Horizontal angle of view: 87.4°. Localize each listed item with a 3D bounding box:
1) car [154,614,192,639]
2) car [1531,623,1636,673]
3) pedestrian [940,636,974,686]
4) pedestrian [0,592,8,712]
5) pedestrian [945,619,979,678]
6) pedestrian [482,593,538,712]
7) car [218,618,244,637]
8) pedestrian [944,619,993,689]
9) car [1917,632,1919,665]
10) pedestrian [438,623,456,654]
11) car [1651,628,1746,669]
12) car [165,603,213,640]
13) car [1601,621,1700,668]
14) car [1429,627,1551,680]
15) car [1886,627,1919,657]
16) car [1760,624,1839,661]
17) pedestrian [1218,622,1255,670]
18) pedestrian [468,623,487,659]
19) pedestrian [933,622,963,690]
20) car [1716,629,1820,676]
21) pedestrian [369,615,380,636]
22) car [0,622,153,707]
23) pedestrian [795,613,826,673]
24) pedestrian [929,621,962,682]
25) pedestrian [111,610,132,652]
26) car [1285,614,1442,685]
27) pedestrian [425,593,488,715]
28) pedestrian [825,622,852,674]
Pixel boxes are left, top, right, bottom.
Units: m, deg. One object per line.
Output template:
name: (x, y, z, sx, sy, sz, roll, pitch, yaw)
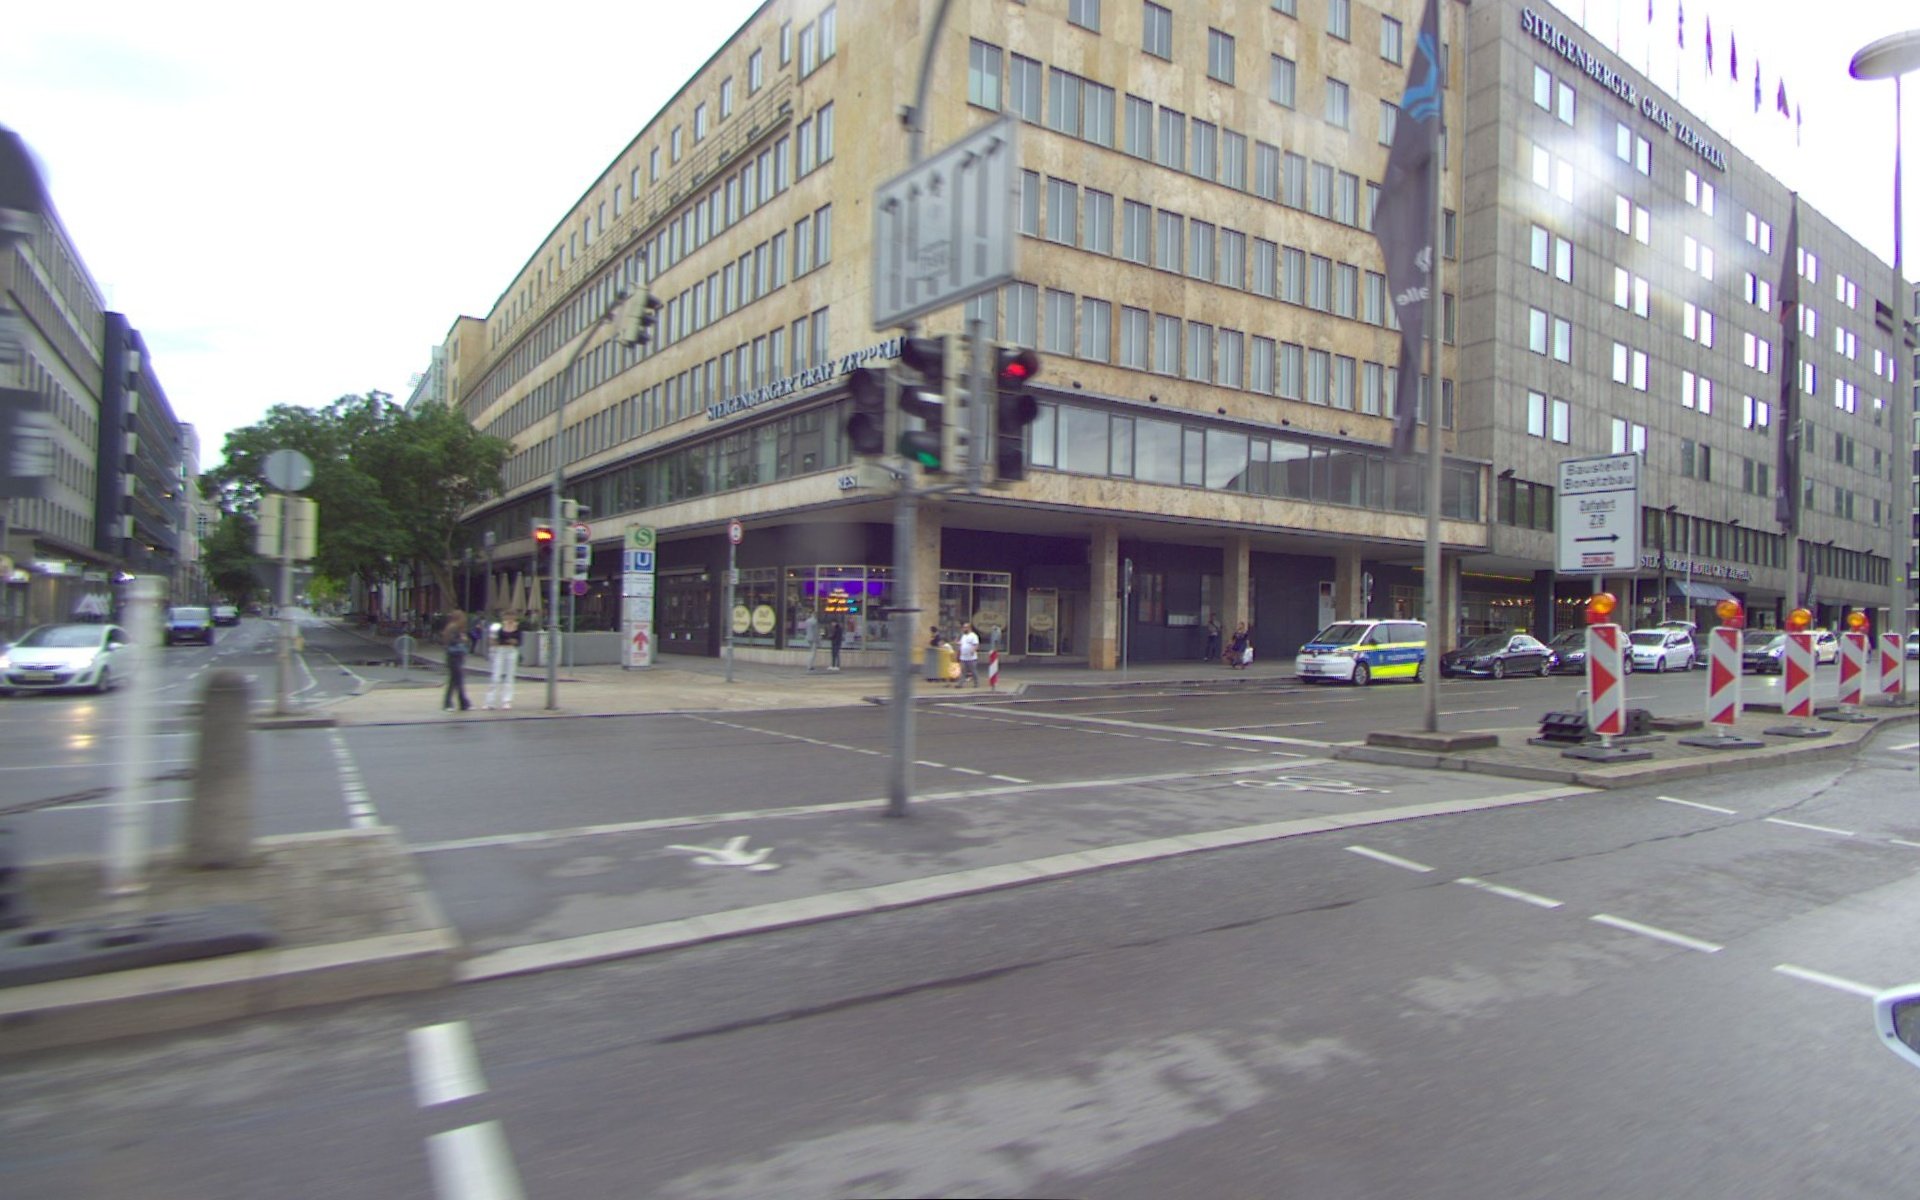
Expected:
car: (-50.475, 1.704, 64.482, 1.780, 1.582, 4.042, 2, -2, -37)
car: (22.699, 1.712, 36.534, 4.186, 1.703, 1.743, 1, -2, -35)
pedestrian: (-0.079, 1.624, 26.939, 0.746, 1.309, 0.559, 2, -2, -36)
pedestrian: (-16.679, 0.881, 16.891, 0.799, 2.040, 0.699, 1, -2, -33)
pedestrian: (0.056, 1.325, 27.635, 0.674, 1.613, 0.659, 2, -2, -35)
pedestrian: (-7.606, 0.874, 16.987, 0.744, 1.950, 0.586, 1, -2, -34)
car: (-63.436, 2.385, 87.388, 1.618, 1.627, 3.583, 2, -2, -39)
pedestrian: (0.214, 1.311, 24.616, 0.784, 1.640, 0.828, 1, 1, -44)
car: (51.370, 2.502, 51.997, 4.454, 1.691, 1.812, 1, -2, -35)
pedestrian: (-23.938, 1.806, 46.893, 0.596, 1.383, 0.694, 2, 1, -37)
car: (31.947, 2.048, 43.397, 4.568, 1.681, 1.891, 1, -1, -34)
car: (-38.049, 1.076, 49.553, 1.781, 1.750, 4.040, 2, -2, -38)
car: (27.534, 1.748, 40.021, 4.663, 1.781, 1.743, 2, -2, -35)
car: (17.761, 1.764, 33.571, 4.519, 1.642, 1.743, 2, -2, -35)
car: (58.622, 2.586, 61.622, 4.326, 1.786, 1.763, 1, -2, -34)
car: (41.327, 2.072, 49.401, 4.530, 1.720, 1.805, 2, -2, -34)
pedestrian: (9.111, 1.505, 33.121, 0.944, 1.569, 0.712, 1, -2, -28)
pedestrian: (-19.262, 1.652, 40.103, 0.595, 1.383, 0.695, 2, 1, -32)
pedestrian: (-0.293, 1.392, 25.106, 0.524, 1.640, 0.445, 1, 2, -45)
car: (30.977, 1.987, 38.473, 4.451, 1.691, 1.764, 1, -3, -33)
pedestrian: (-38.683, 1.700, 66.371, 0.560, 1.316, 0.618, 2, 1, -37)
car: (-19.068, 1.314, 21.697, 1.784, 1.661, 4.064, 1, -2, -28)
pedestrian: (-4.810, 1.383, 32.243, 0.763, 1.900, 0.712, 1, -2, -29)
pedestrian: (-0.404, 1.433, 28.177, 0.746, 1.690, 0.559, 2, -2, -36)
pedestrian: (-41.143, 1.513, 49.296, 0.698, 2.040, 0.799, 2, -2, -35)
car: (12.097, 1.410, 30.004, 5.024, 1.954, 1.888, 0, -2, -35)
pedestrian: (-8.265, 0.880, 16.510, 0.579, 1.950, 0.718, 0, -1, 7)
pedestrian: (-3.923, 1.536, 32.300, 0.674, 1.630, 0.621, 1, -2, -29)
